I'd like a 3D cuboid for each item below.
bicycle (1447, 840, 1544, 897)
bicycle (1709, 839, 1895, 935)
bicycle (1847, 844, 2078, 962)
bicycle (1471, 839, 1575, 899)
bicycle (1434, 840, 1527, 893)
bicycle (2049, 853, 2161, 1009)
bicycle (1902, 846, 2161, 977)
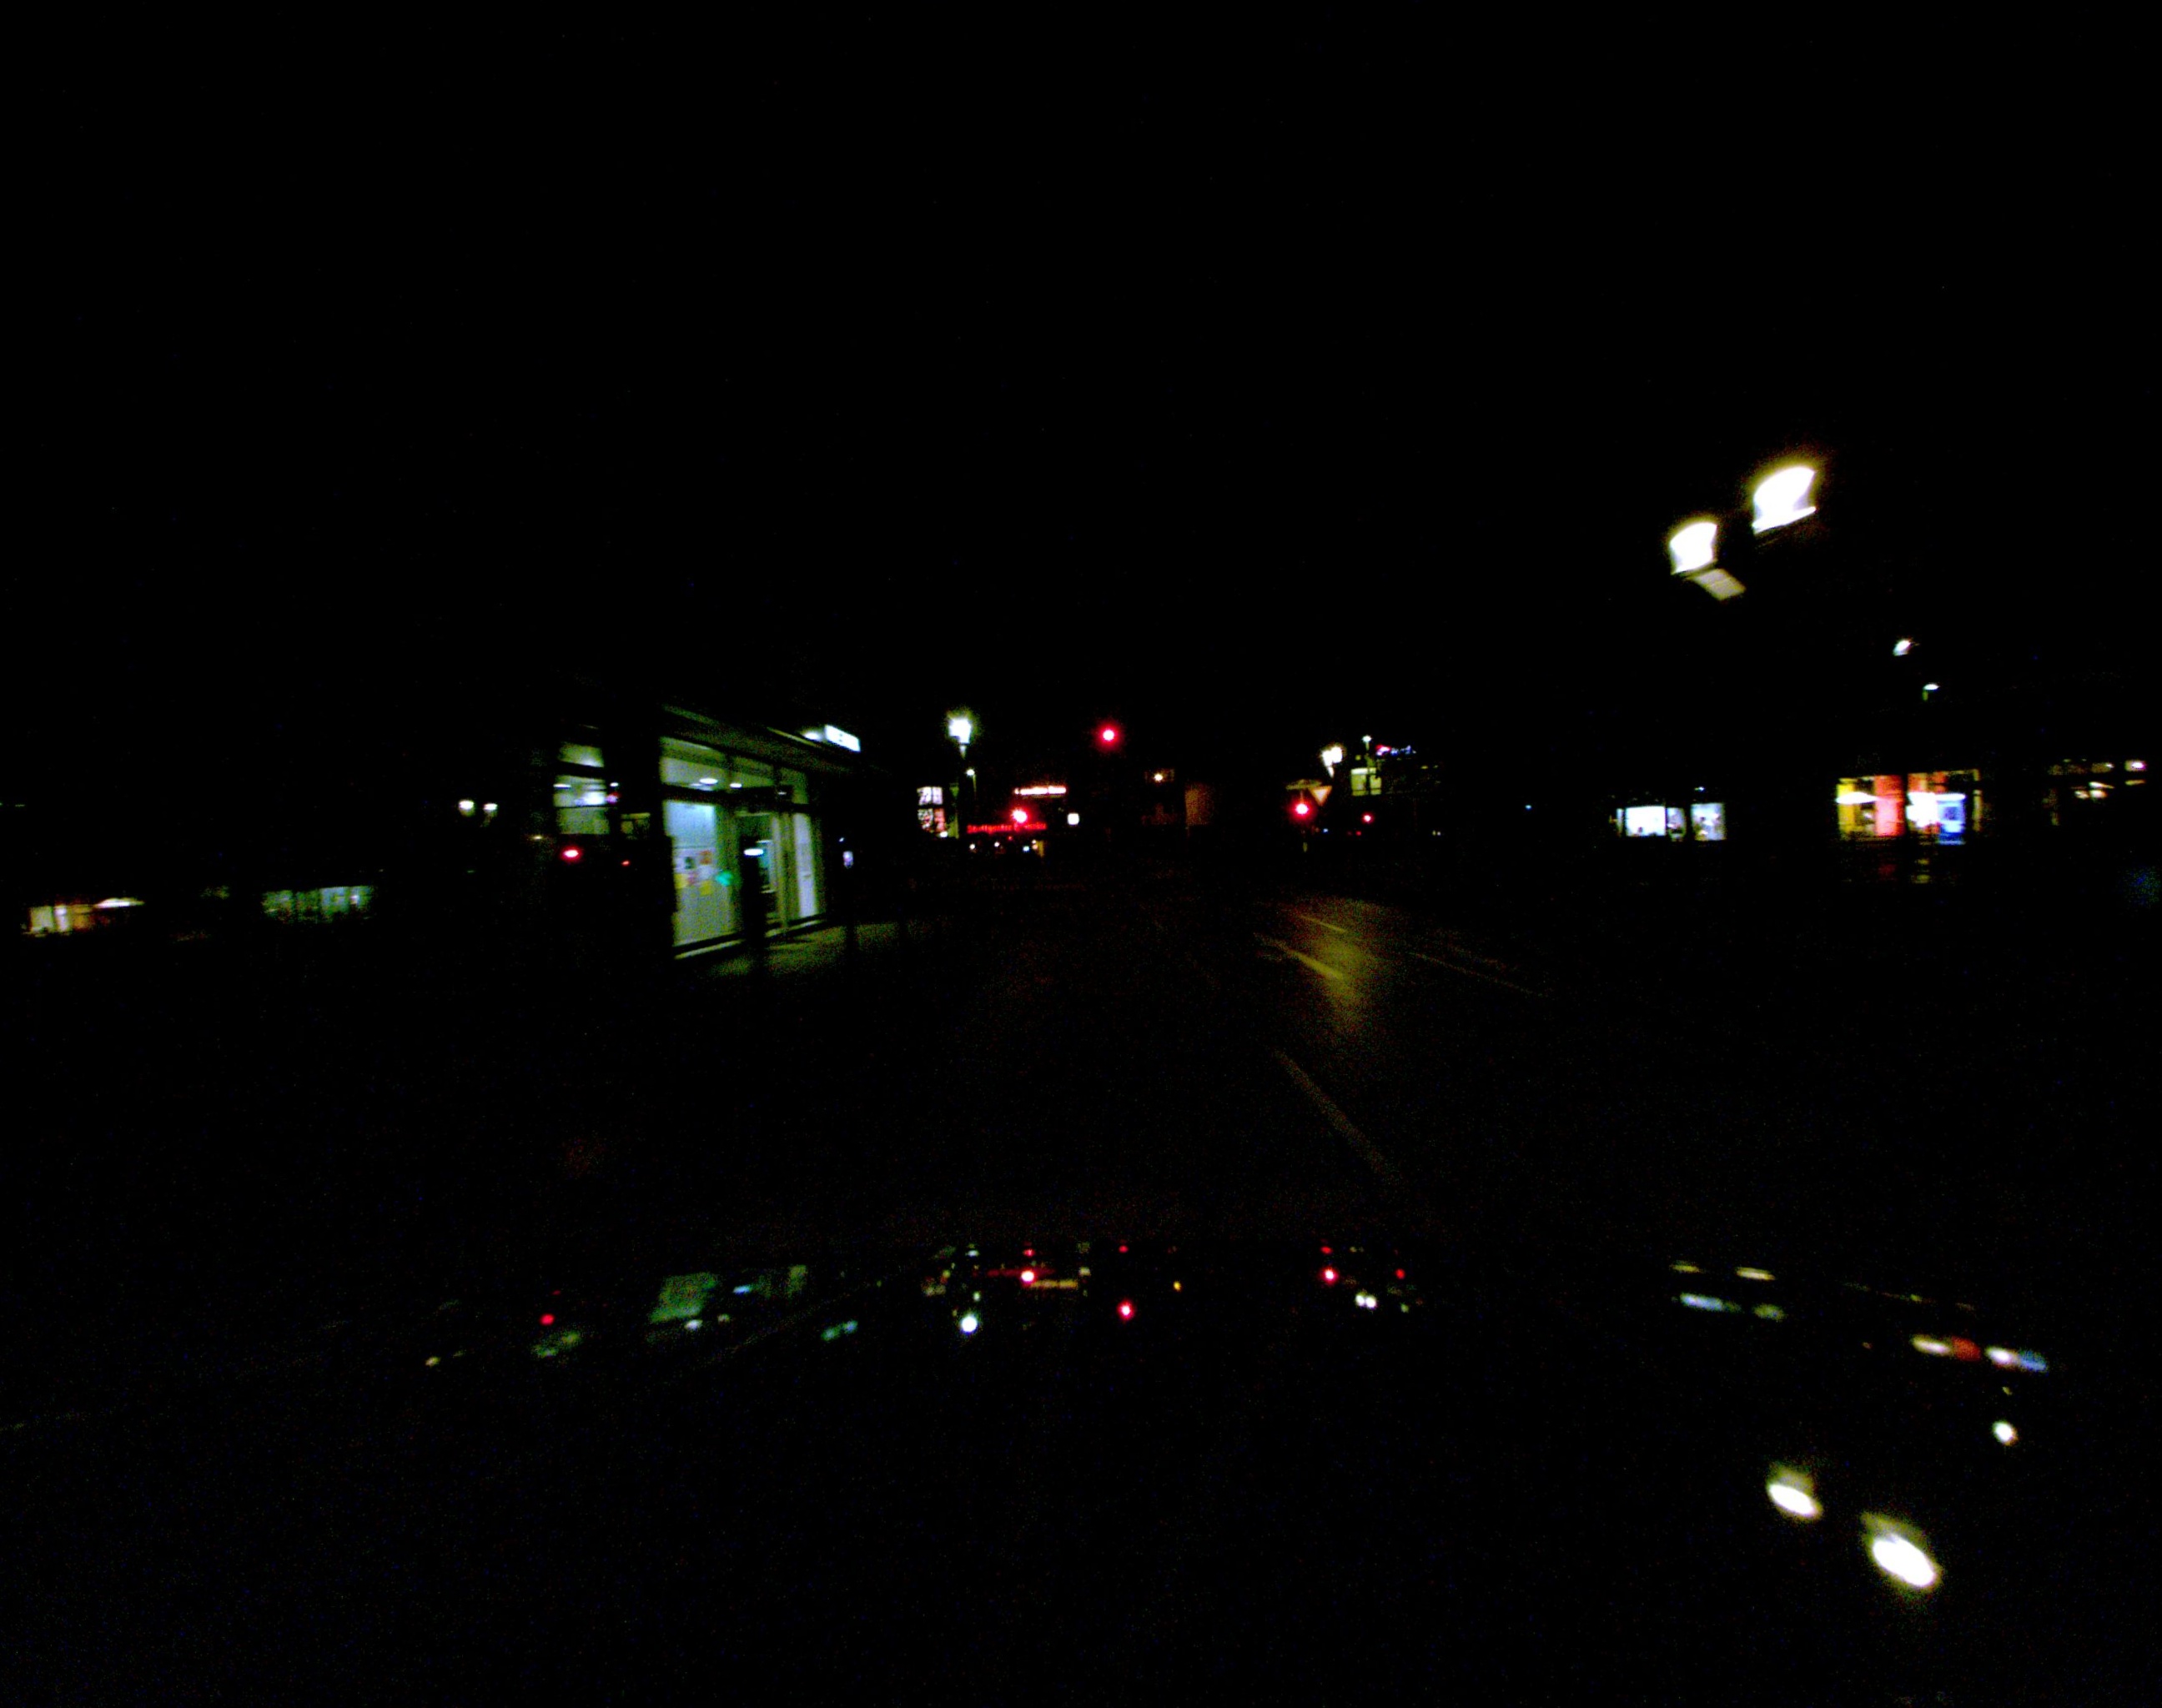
[{"bbox_3d":[9.610,0.327,17.660,1.738,1.151,0.787,-5,2,7],"label":"bicycle"},{"bbox_3d":[9.498,0.421,10.058,1.773,1.157,0.670,-3,1,2],"label":"bicycle"},{"bbox_3d":[9.228,0.493,7.999,1.620,1.099,0.670,-3,2,2],"label":"bicycle"},{"bbox_3d":[9.784,0.320,16.872,1.738,1.160,0.787,-5,0,7],"label":"bicycle"},{"bbox_3d":[10.044,0.300,19.142,1.837,1.151,0.787,-5,2,7],"label":"bicycle"},{"bbox_3d":[8.840,0.555,5.951,1.620,1.099,0.670,-3,2,2],"label":"bicycle"},{"bbox_3d":[9.035,0.522,7.252,1.620,1.099,0.670,-3,2,2],"label":"bicycle"}]
